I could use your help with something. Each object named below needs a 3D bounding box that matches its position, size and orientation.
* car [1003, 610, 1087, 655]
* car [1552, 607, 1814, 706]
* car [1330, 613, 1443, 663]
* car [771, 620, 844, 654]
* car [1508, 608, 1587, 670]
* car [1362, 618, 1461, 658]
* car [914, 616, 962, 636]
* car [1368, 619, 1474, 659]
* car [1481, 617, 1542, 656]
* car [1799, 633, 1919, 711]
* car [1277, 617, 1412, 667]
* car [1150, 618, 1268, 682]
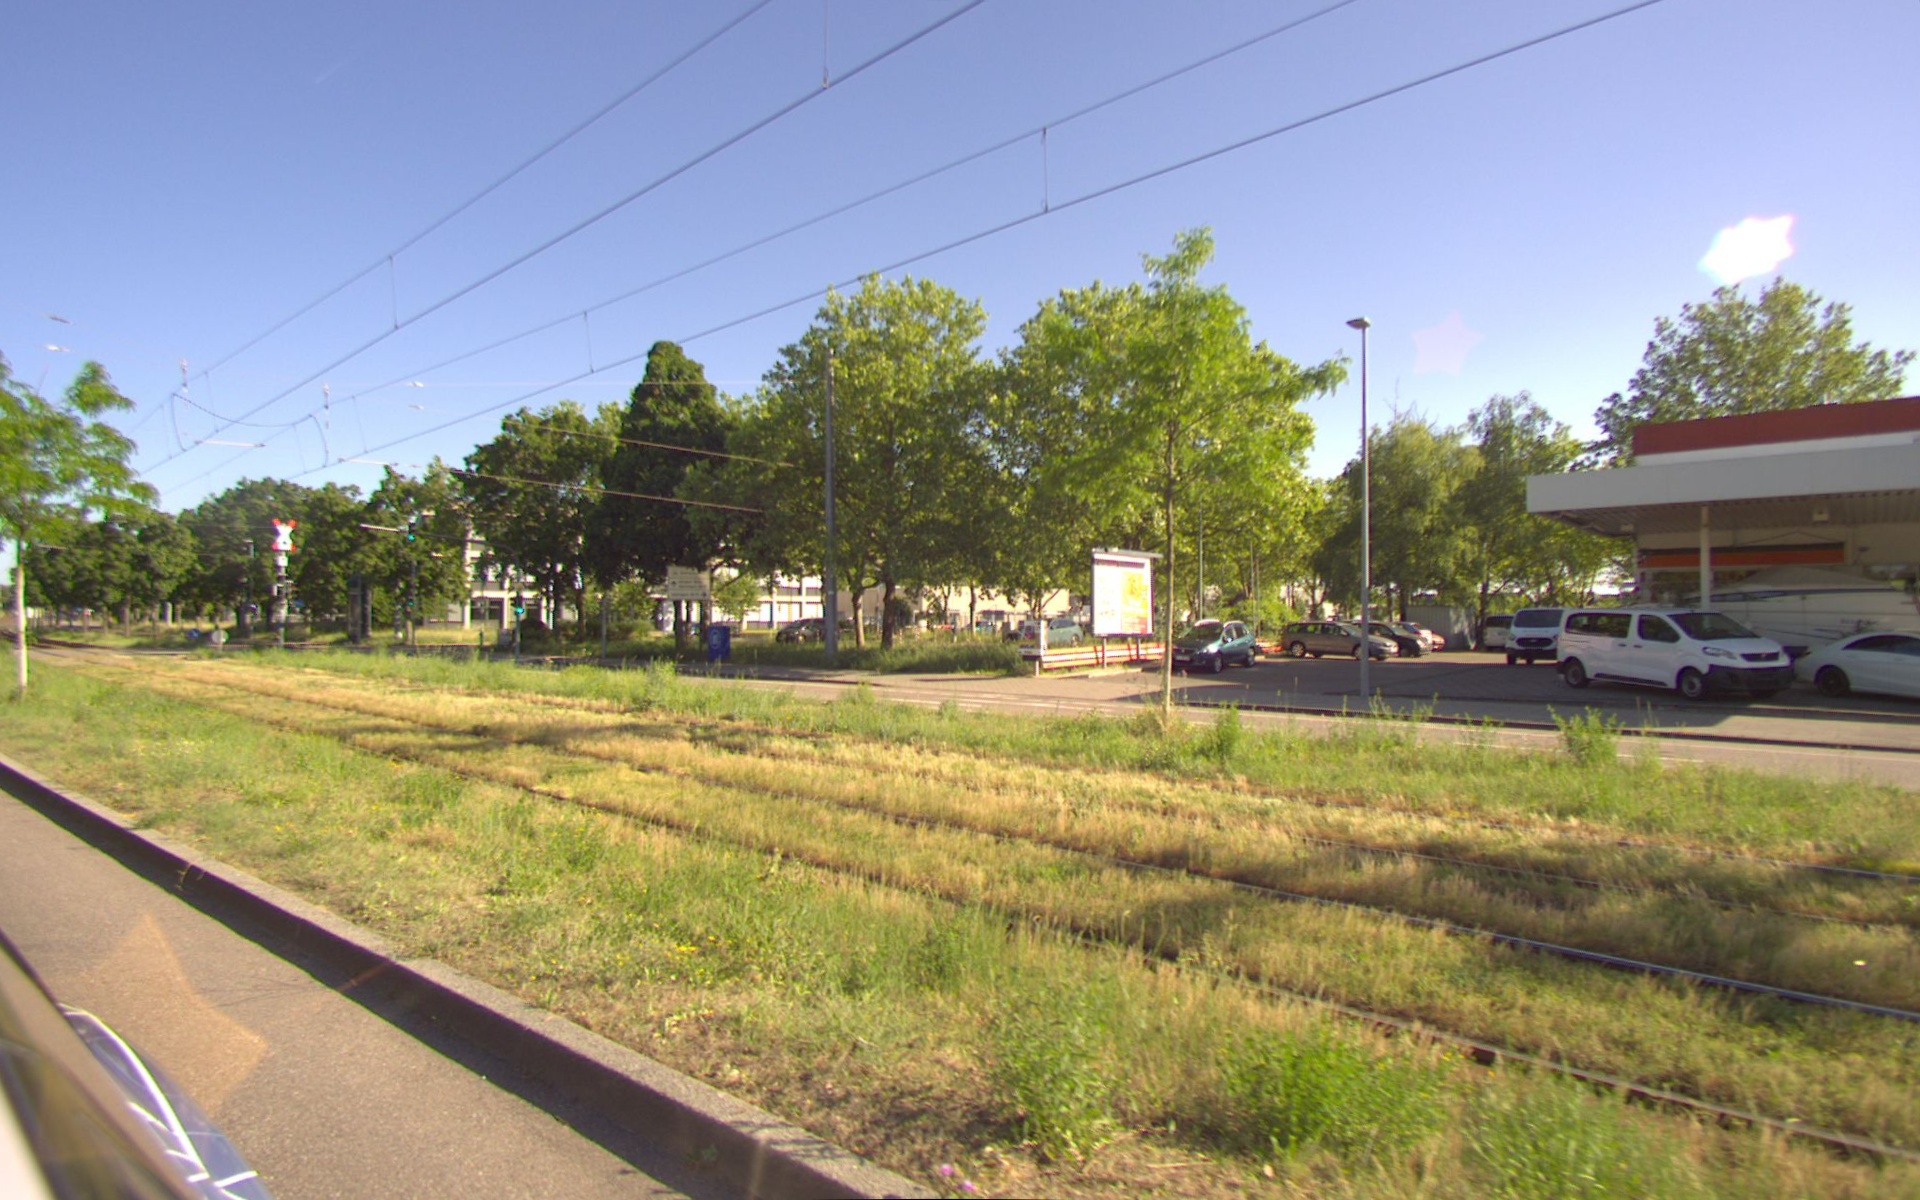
[{"bbox_3d":[4.017,1.499,47.520,1.998,1.876,4.000,-2,0,39],"label":"car"},{"bbox_3d":[15.799,1.193,22.536,1.868,1.925,4.818,-1,-2,-8],"label":"car"},{"bbox_3d":[18.127,1.614,43.114,3.999,2.029,1.972,-2,-3,42],"label":"car"},{"bbox_3d":[-9.067,2.164,60.220,1.998,1.840,4.000,-1,0,39],"label":"car"},{"bbox_3d":[20.344,1.342,34.964,1.887,2.002,4.555,-1,-3,36],"label":"car"},{"bbox_3d":[21.928,1.820,49.232,3.999,1.876,1.972,-2,-3,42],"label":"car"},{"bbox_3d":[-1.966,2.354,92.349,1.998,1.659,4.476,-1,0,39],"label":"car"},{"bbox_3d":[20.898,1.760,45.973,3.999,1.758,1.972,-2,-3,42],"label":"car"},{"bbox_3d":[27.599,1.779,50.584,1.942,1.778,4.432,-1,0,39],"label":"car"},{"bbox_3d":[19.107,1.397,19.467,1.689,1.435,4.468,1,-1,-12],"label":"car"},{"bbox_3d":[14.945,1.620,39.489,1.970,1.833,4.532,2,-3,-43],"label":"car"},{"bbox_3d":[8.275,1.605,33.461,2.001,1.871,3.942,-2,0,45],"label":"car"}]
